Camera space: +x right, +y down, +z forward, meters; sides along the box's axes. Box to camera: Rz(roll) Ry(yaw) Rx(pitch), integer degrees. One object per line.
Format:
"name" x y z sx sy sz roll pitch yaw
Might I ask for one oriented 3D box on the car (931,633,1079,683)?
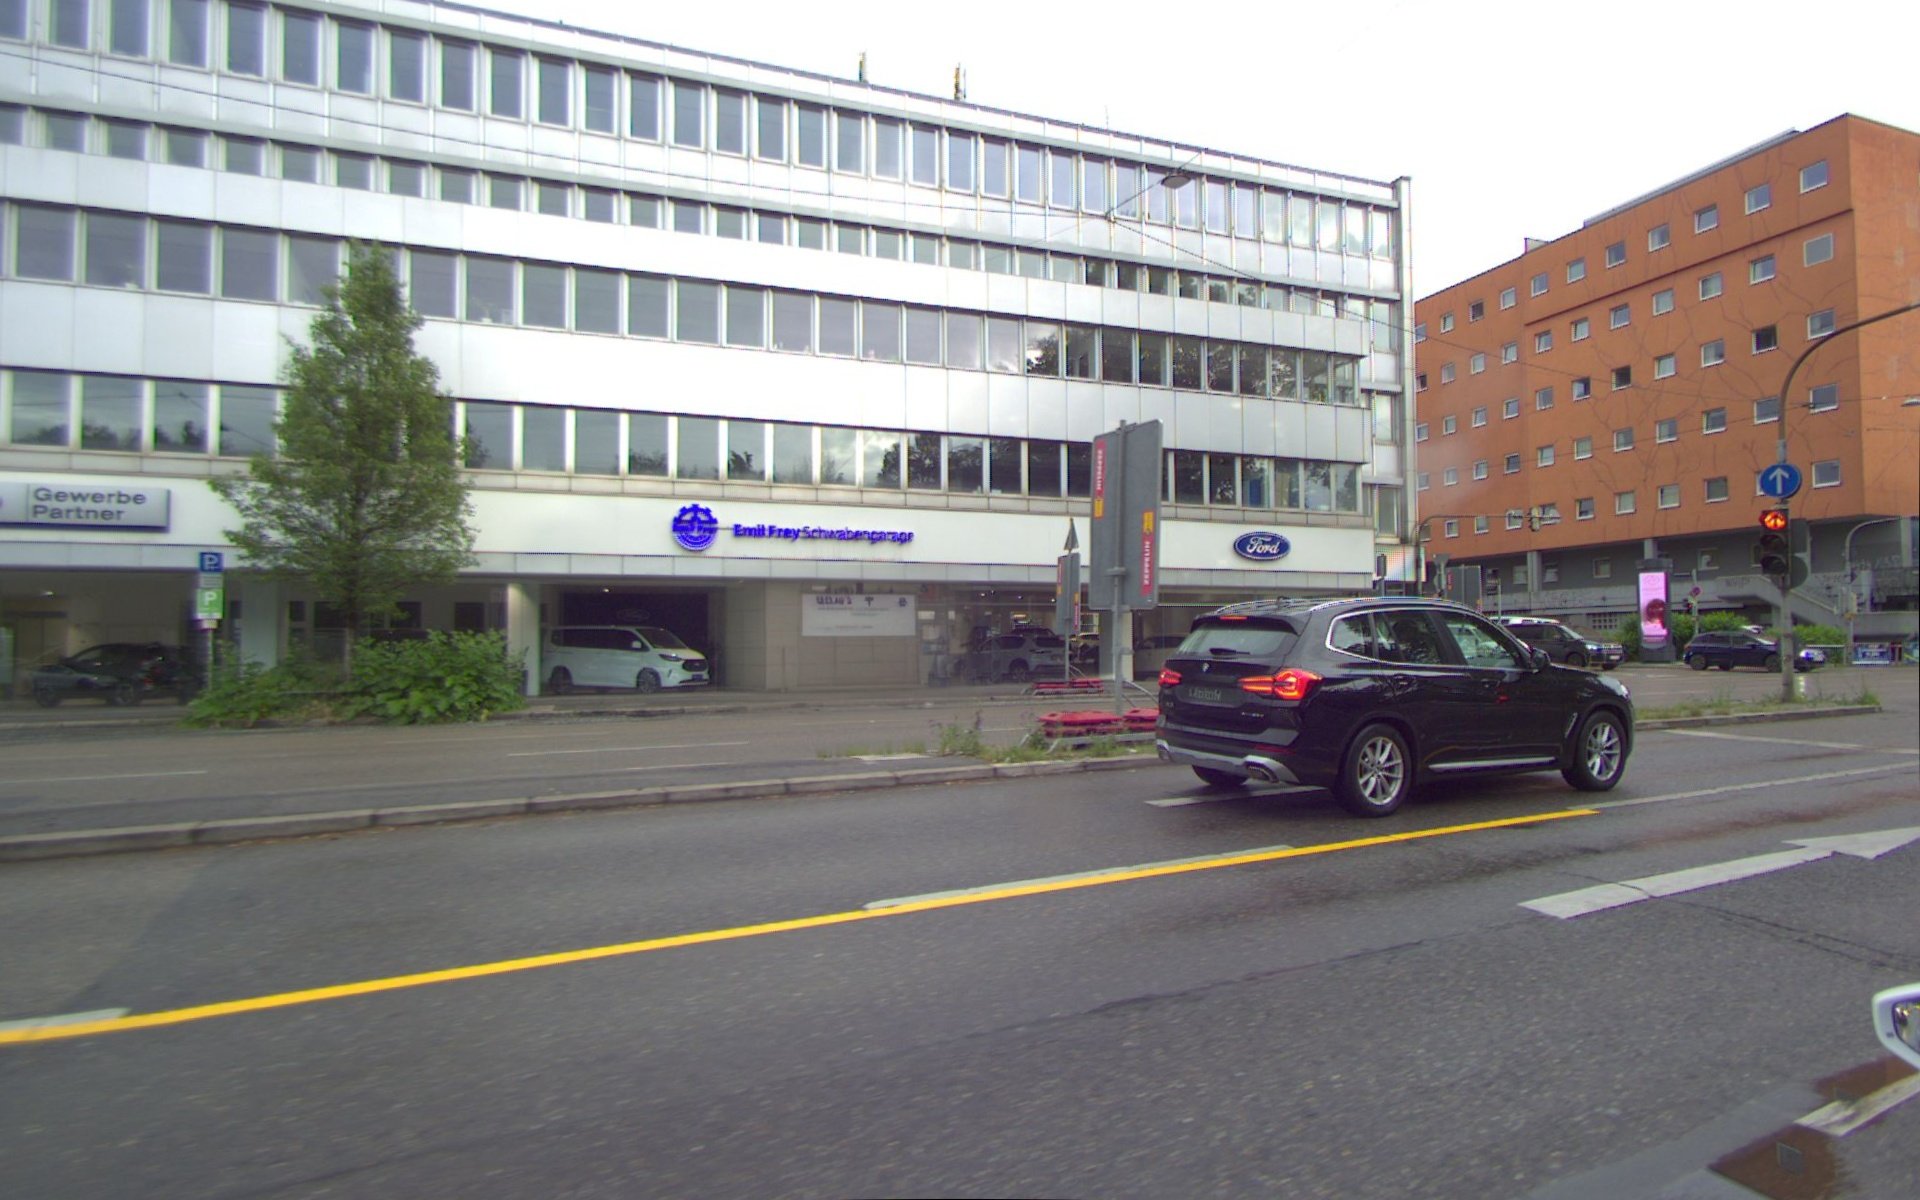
"car" 1.421 2.000 34.089 1.985 1.540 5.143 2 -5 -42

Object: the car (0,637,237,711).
"car" -19.607 1.712 23.457 3.934 1.594 1.995 0 -4 -16

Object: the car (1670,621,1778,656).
"car" 39.208 2.010 51.672 1.864 1.639 4.013 0 -4 -18

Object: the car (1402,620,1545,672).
"car" 20.508 1.907 40.418 1.968 1.957 5.194 0 -4 -18

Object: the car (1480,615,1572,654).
"car" 31.627 1.926 56.158 4.784 2.041 1.988 1 2 -24

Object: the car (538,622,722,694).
"car" -9.608 1.715 29.304 4.890 1.922 2.001 -2 -4 19

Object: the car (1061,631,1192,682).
"car" 6.089 2.133 37.315 1.982 1.761 4.725 2 -4 -37

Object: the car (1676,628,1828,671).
"car" 28.678 1.824 36.531 1.560 1.464 4.133 0 -4 -19

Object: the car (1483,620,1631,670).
"car" 24.091 1.899 40.800 1.969 1.869 5.074 1 -4 -19

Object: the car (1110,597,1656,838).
"car" 3.757 0.802 8.774 4.611 1.619 1.940 0 0 -28

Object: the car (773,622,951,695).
"car" -2.988 1.802 30.423 5.111 2.037 1.998 -3 -4 28
